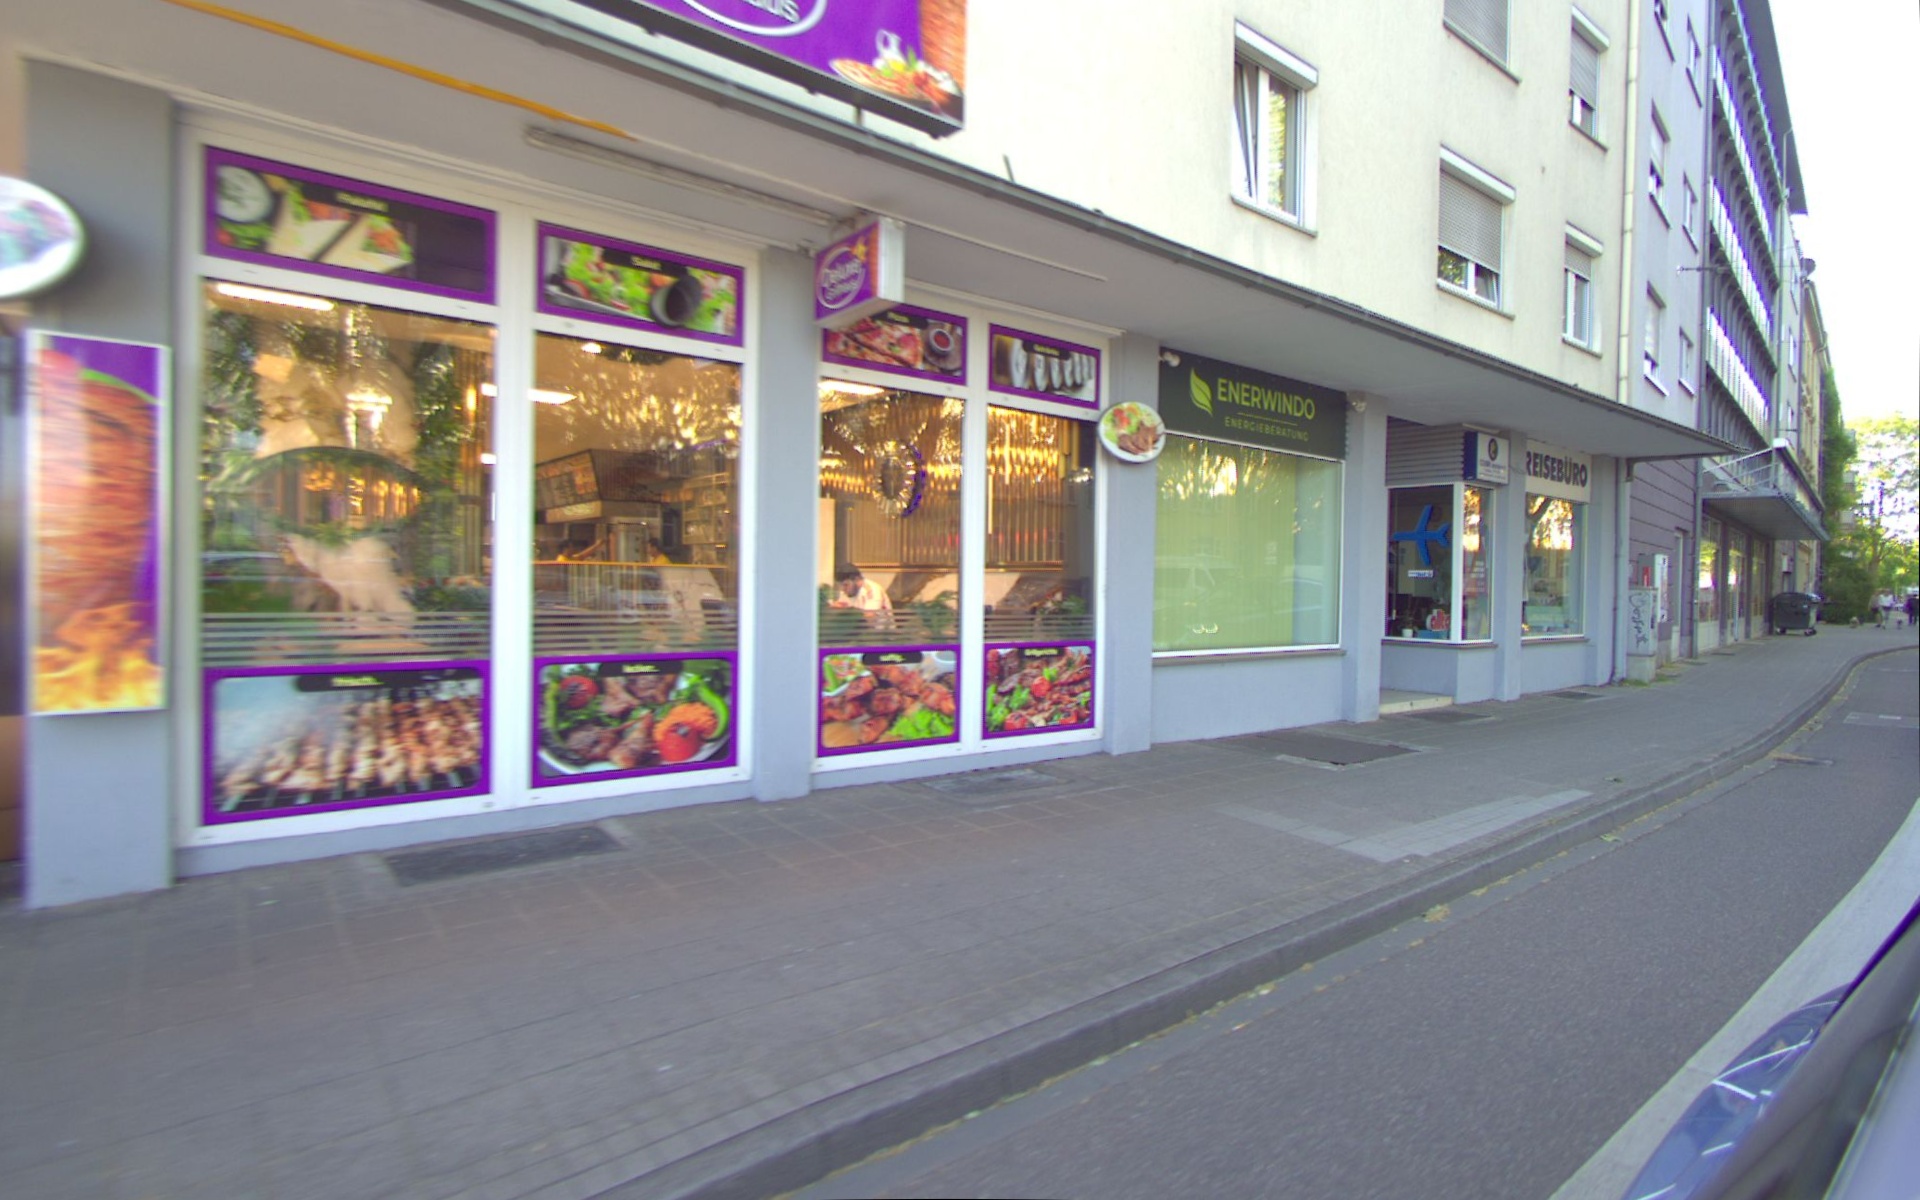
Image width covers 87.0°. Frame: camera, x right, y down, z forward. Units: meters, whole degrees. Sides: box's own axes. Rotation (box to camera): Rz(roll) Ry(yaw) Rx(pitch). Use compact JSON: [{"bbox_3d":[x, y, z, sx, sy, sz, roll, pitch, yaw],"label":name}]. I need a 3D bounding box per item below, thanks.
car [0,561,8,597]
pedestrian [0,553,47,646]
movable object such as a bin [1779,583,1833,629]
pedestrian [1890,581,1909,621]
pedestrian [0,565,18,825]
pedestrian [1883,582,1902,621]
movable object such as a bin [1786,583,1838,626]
[{"bbox_3d":[-41.226,-0.877,40.973,3.804,1.498,1.714,0,1,-41],"label":"car"},{"bbox_3d":[-17.842,-0.023,19.178,0.709,1.730,0.539,0,1,-34],"label":"pedestrian"},{"bbox_3d":[27.855,0.179,33.308,1.349,1.427,1.202,0,1,-44],"label":"movable object such as a bin"},{"bbox_3d":[40.048,0.044,43.132,0.620,1.693,0.540,0,1,-44],"label":"pedestrian"},{"bbox_3d":[-5.392,0.494,5.317,0.596,1.358,0.493,0,1,-38],"label":"pedestrian"},{"bbox_3d":[41.399,0.057,44.917,0.620,1.743,0.540,0,1,-44],"label":"pedestrian"},{"bbox_3d":[29.227,0.134,34.718,1.349,1.427,1.202,0,1,-44],"label":"movable object such as a bin"}]
